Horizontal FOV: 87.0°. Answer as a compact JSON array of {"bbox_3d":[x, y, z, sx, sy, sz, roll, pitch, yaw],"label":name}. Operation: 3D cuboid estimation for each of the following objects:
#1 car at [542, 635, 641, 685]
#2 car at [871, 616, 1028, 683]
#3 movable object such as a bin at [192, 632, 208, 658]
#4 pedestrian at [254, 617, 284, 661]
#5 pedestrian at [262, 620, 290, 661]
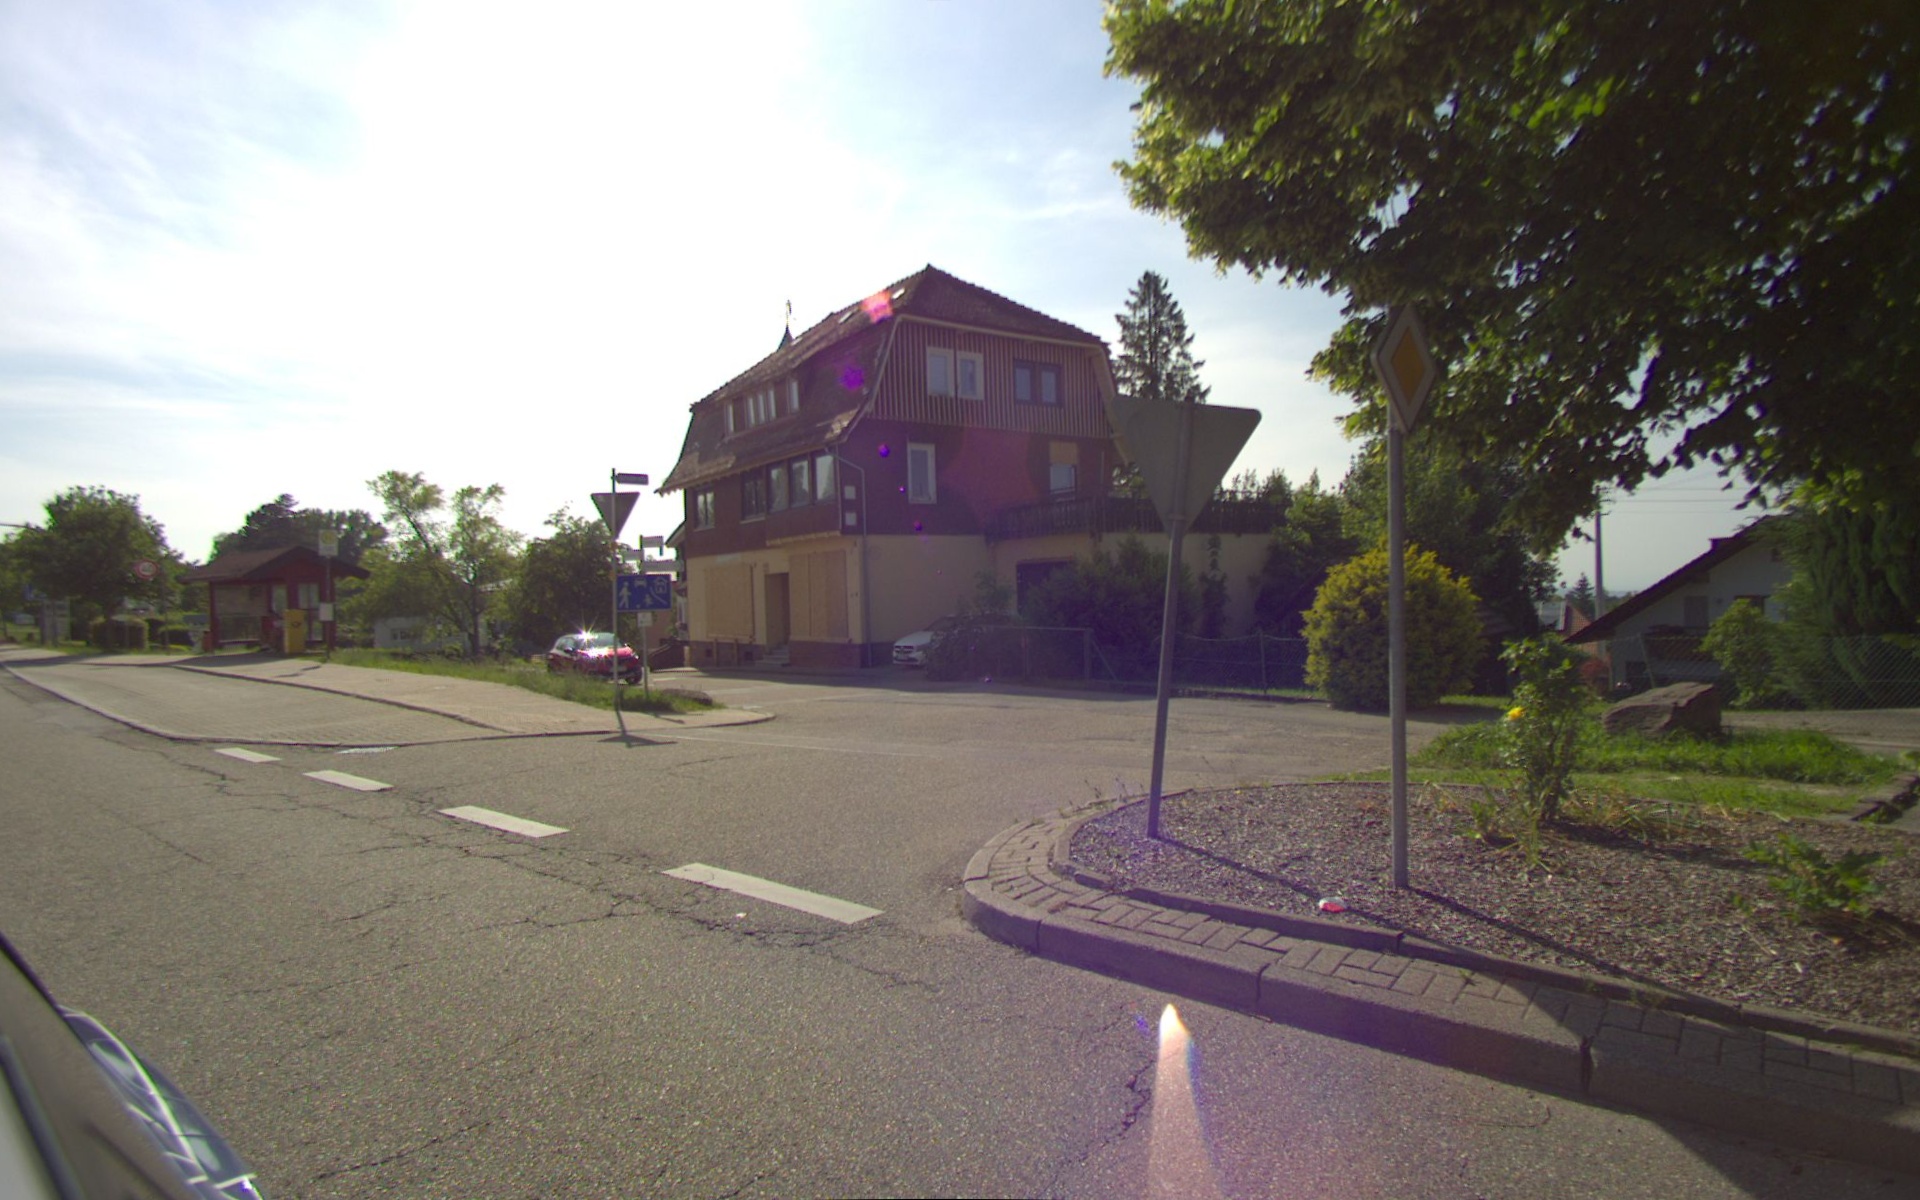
[{"bbox_3d":[-10.863,1.708,29.675,1.698,1.307,4.009,1,-2,-36],"label":"car"},{"bbox_3d":[-0.230,1.329,28.517,4.249,1.522,1.803,-3,2,-41],"label":"car"},{"bbox_3d":[-24.989,1.471,33.272,0.484,0.843,0.302,-1,-1,37],"label":"movable object such as a bin"},{"bbox_3d":[-22.265,1.253,32.612,0.673,1.375,0.611,-3,-4,38],"label":"pedestrian"},{"bbox_3d":[-21.780,1.288,32.240,0.423,1.262,0.623,-2,-2,37],"label":"pedestrian"}]
